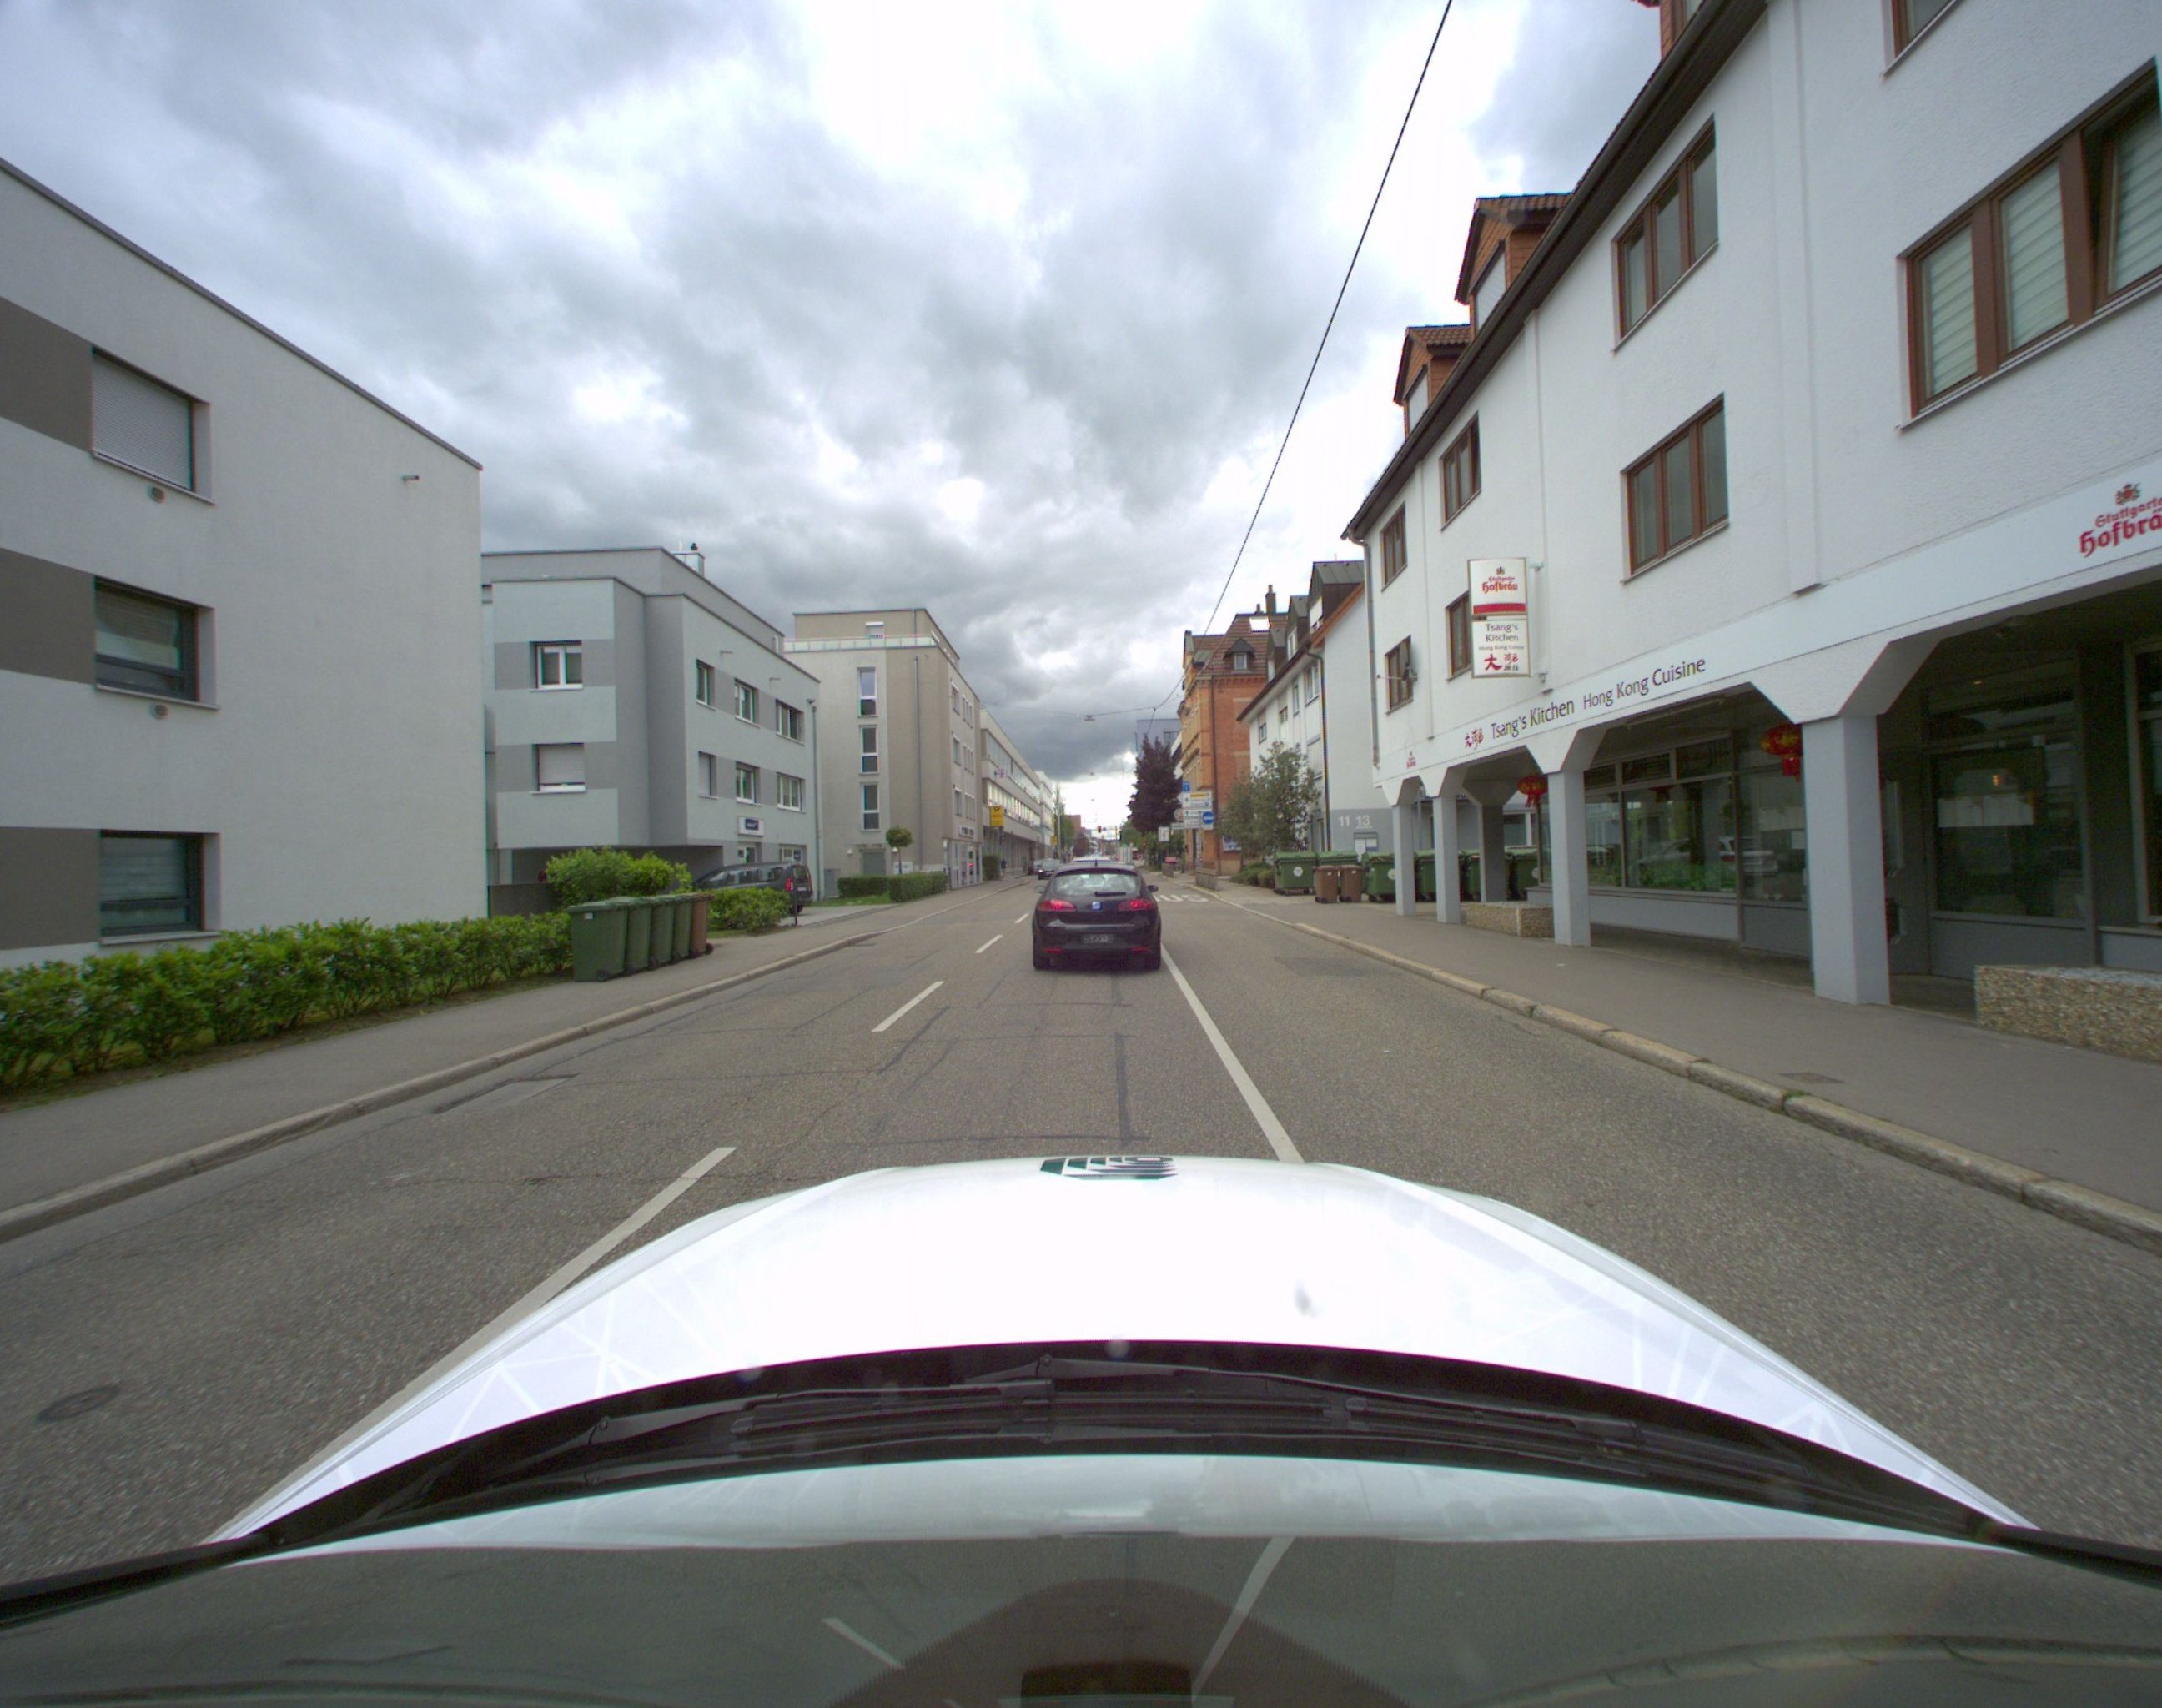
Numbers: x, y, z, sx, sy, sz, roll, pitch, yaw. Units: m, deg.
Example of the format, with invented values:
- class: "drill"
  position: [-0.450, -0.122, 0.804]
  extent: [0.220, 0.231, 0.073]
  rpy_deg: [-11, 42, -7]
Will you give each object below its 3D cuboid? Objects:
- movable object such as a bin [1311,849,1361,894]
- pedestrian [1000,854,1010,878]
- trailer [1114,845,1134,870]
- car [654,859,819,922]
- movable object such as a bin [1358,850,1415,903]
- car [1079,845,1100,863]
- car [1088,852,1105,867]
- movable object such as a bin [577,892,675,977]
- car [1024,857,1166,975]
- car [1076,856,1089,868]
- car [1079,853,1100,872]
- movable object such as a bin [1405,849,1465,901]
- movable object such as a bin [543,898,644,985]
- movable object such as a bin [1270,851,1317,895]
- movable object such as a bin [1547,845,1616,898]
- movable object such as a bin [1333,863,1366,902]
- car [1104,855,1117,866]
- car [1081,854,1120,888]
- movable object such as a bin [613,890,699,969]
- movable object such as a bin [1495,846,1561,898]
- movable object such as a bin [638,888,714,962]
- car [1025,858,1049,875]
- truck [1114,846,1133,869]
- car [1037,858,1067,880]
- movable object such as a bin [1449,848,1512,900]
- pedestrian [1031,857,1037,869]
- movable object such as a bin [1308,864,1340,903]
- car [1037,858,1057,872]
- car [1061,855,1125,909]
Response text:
- class: "movable object such as a bin"
  position: [8.485, 0.574, 27.165]
  extent: [1.262, 1.435, 1.308]
  rpy_deg: [-2, 0, 2]
- class: "pedestrian"
  position: [-5.823, 0.927, 62.446]
  extent: [0.641, 1.769, 0.809]
  rpy_deg: [-2, 0, -1]
- class: "trailer"
  position: [4.848, 0.402, 91.703]
  extent: [1.986, 2.607, 5.350]
  rpy_deg: [-2, 0, 1]
- class: "car"
  position: [-10.187, 1.068, 24.264]
  extent: [4.144, 1.667, 1.727]
  rpy_deg: [-2, -1, 4]
- class: "movable object such as a bin"
  position: [8.662, 0.620, 23.132]
  extent: [1.203, 1.417, 1.261]
  rpy_deg: [-2, 0, 5]
- class: "car"
  position: [0.794, 0.021, 72.245]
  extent: [1.797, 1.553, 3.738]
  rpy_deg: [-2, 0, 1]
- class: "car"
  position: [1.749, 0.644, 90.277]
  extent: [1.797, 1.601, 3.738]
  rpy_deg: [-1, 0, 1]
- class: "movable object such as a bin"
  position: [-6.709, 1.169, 12.055]
  extent: [0.954, 1.151, 0.839]
  rpy_deg: [-2, 0, -3]
- class: "car"
  position: [0.233, 0.786, 12.216]
  extent: [1.759, 1.433, 3.829]
  rpy_deg: [-2, 0, 2]
- class: "car"
  position: [0.229, 1.327, 133.403]
  extent: [1.987, 1.738, 4.554]
  rpy_deg: [-4, 0, 1]
- class: "car"
  position: [0.803, 0.744, 72.538]
  extent: [1.797, 1.601, 3.738]
  rpy_deg: [-1, 0, 1]
- class: "movable object such as a bin"
  position: [10.019, 0.581, 23.089]
  extent: [1.203, 1.417, 1.261]
  rpy_deg: [-2, 0, 5]
- class: "movable object such as a bin"
  position: [-6.689, 1.183, 11.213]
  extent: [0.892, 1.089, 0.792]
  rpy_deg: [-2, 0, -3]
- class: "movable object such as a bin"
  position: [7.145, 0.620, 27.461]
  extent: [1.262, 1.417, 1.163]
  rpy_deg: [-2, 0, 2]
- class: "movable object such as a bin"
  position: [14.036, 0.468, 22.886]
  extent: [1.203, 1.417, 1.261]
  rpy_deg: [-2, 0, 5]
- class: "movable object such as a bin"
  position: [7.731, 0.811, 23.498]
  extent: [0.694, 1.079, 0.973]
  rpy_deg: [-2, 0, 5]
- class: "car"
  position: [4.242, 0.952, 116.889]
  extent: [1.797, 1.601, 3.738]
  rpy_deg: [-1, 0, 1]
- class: "car"
  position: [0.956, 0.833, 40.625]
  extent: [1.797, 1.553, 3.738]
  rpy_deg: [-2, 0, 1]
- class: "movable object such as a bin"
  position: [-6.704, 1.168, 12.879]
  extent: [0.946, 1.151, 0.748]
  rpy_deg: [-2, 0, -3]
- class: "movable object such as a bin"
  position: [12.552, 0.493, 22.938]
  extent: [1.203, 1.417, 1.261]
  rpy_deg: [-2, 0, 5]
- class: "movable object such as a bin"
  position: [-6.739, 1.161, 13.574]
  extent: [0.938, 1.151, 0.612]
  rpy_deg: [-2, 0, -3]
- class: "car"
  position: [-4.299, 1.229, 80.057]
  extent: [1.906, 1.517, 4.175]
  rpy_deg: [-3, 0, 1]
- class: "truck"
  position: [4.897, 0.402, 94.515]
  extent: [1.987, 2.607, 3.260]
  rpy_deg: [-2, 0, 1]
- class: "car"
  position: [-2.138, 1.070, 60.582]
  extent: [1.872, 1.451, 4.215]
  rpy_deg: [-4, 0, 1]
- class: "movable object such as a bin"
  position: [11.270, 0.548, 23.036]
  extent: [1.203, 1.417, 1.261]
  rpy_deg: [-2, 0, 5]
- class: "pedestrian"
  position: [-6.227, 1.176, 107.546]
  extent: [0.653, 1.623, 0.681]
  rpy_deg: [-2, 0, 2]
- class: "movable object such as a bin"
  position: [7.005, 0.844, 23.538]
  extent: [0.680, 1.067, 0.973]
  rpy_deg: [-2, 0, 5]
- class: "car"
  position: [-3.779, 1.189, 91.719]
  extent: [1.986, 1.517, 4.175]
  rpy_deg: [-2, 0, 1]
- class: "car"
  position: [0.373, 0.820, 25.253]
  extent: [1.797, 1.492, 3.738]
  rpy_deg: [-2, 0, 1]
